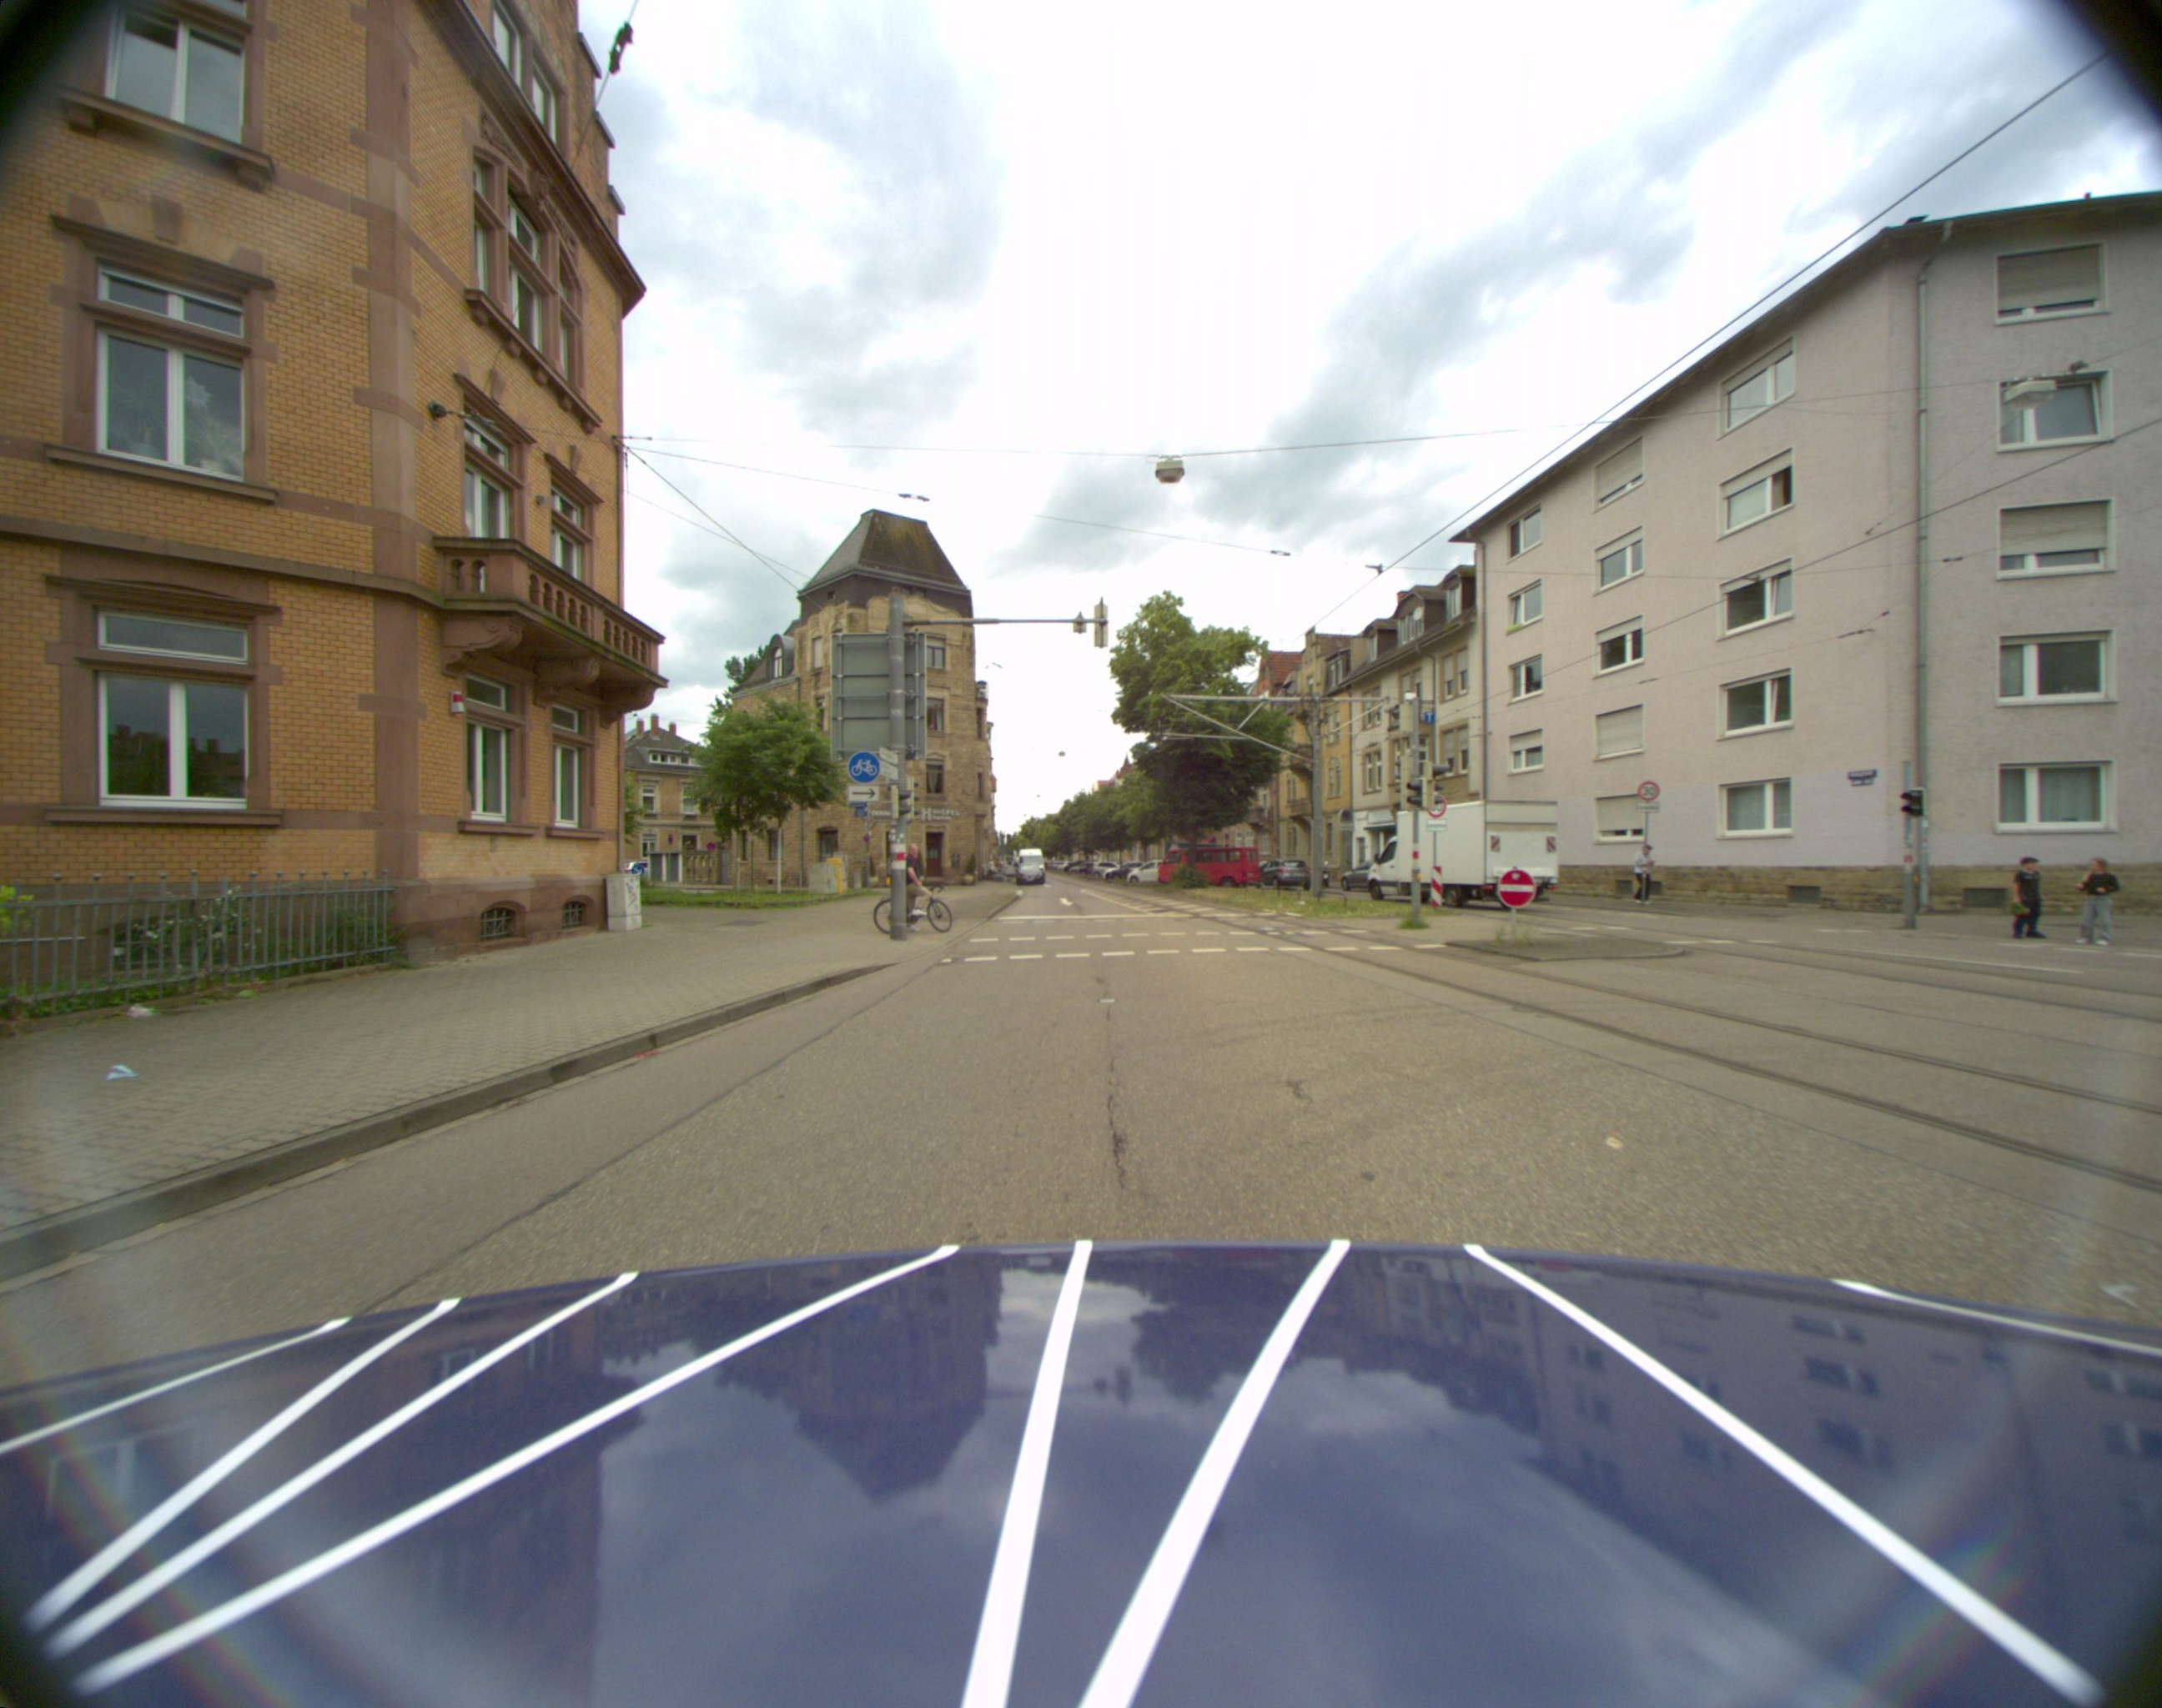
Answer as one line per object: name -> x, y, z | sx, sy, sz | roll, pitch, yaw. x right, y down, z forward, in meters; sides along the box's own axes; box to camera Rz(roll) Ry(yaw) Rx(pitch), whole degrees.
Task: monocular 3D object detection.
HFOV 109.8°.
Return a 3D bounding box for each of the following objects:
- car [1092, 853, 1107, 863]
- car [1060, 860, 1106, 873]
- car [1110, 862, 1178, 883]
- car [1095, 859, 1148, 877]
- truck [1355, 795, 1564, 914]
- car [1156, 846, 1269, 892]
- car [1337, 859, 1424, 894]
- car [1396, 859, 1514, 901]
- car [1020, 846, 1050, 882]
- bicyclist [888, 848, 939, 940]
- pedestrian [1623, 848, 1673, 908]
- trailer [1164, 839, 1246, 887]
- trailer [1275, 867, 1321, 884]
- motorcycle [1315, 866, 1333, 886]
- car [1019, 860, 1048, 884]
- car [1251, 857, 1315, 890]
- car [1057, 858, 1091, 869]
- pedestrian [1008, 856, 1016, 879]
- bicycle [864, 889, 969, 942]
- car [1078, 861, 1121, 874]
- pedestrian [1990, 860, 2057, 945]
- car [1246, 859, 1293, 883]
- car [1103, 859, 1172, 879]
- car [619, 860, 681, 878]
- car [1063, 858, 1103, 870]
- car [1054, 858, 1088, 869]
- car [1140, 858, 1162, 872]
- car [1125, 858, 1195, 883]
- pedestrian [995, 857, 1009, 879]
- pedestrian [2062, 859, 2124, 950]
car -> 2.615, 0.567, 109.137 | 1.649, 1.495, 3.881 | -1, 0, -7
car -> 0.204, 1.335, 80.537 | 4.655, 1.360, 1.761 | -1, 0, 37
car -> 4.343, 1.258, 52.636 | 4.328, 1.426, 1.903 | -1, 0, 36
car -> 3.366, 1.153, 63.390 | 4.106, 1.475, 1.801 | -1, 0, 35
truck -> 11.400, -0.002, 23.844 | 2.191, 3.139, 7.326 | -1, 0, -7
car -> 6.045, 0.672, 35.186 | 4.754, 1.962, 1.963 | 0, 0, 32
car -> 13.359, 0.966, 34.183 | 1.640, 1.434, 4.567 | -1, 0, -8
car -> 13.997, 0.906, 28.777 | 1.640, 1.434, 4.759 | -1, 0, -8
car -> -3.628, 0.715, 58.410 | 2.019, 2.534, 7.013 | -2, 0, -5
bicyclist -> -3.388, 0.791, 15.348 | 0.683, 1.785, 0.889 | -1, 0, -37
pedestrian -> 17.169, 0.714, 23.028 | 0.800, 1.756, 0.899 | 0, 0, -7
trailer -> 6.279, 0.452, 38.462 | 3.662, 2.330, 1.934 | 0, 0, 26
trailer -> 12.616, 1.253, 44.248 | 1.459, 0.887, 3.074 | 1, 0, -8
motorcycle -> 13.196, 1.198, 41.291 | 0.710, 1.032, 2.232 | 0, 0, 11
car -> -3.323, 1.200, 52.010 | 1.829, 1.441, 5.004 | -1, 0, -5
car -> 10.020, 0.907, 38.056 | 1.649, 1.525, 4.129 | -1, 0, -7
car -> -0.926, 1.192, 98.511 | 4.118, 1.304, 1.867 | -1, 0, 37
pedestrian -> -5.391, 1.051, 59.419 | 0.500, 1.804, 0.802 | 2, 0, -5
bicycle -> -3.280, 1.205, 15.219 | 1.872, 0.918, 0.794 | -1, 0, -38
car -> 1.788, 1.272, 73.901 | 3.951, 1.195, 1.672 | -1, 0, 38
pedestrian -> 17.505, 0.892, 14.124 | 0.570, 1.548, 0.534 | 0, 0, 7
car -> 12.191, 1.063, 49.289 | 1.640, 1.434, 3.921 | -1, 0, -8
car -> 4.129, 1.102, 55.932 | 4.675, 1.426, 1.903 | -1, 0, 33
car -> -34.786, 1.198, 61.388 | 1.750, 1.425, 4.053 | 1, -1, 44
car -> 0.205, 1.189, 90.917 | 4.528, 1.481, 2.040 | 0, 0, 38
car -> -1.444, 1.285, 105.136 | 4.552, 1.484, 1.867 | -1, 0, 40
car -> 7.926, 1.241, 86.400 | 1.667, 1.550, 3.720 | -1, 0, -7
car -> 4.739, 0.984, 45.942 | 3.852, 1.454, 1.693 | -1, 0, 36
pedestrian -> -6.067, 1.076, 58.394 | 0.866, 1.690, 0.537 | 2, 0, -20
pedestrian -> 17.701, 0.856, 13.293 | 0.534, 1.548, 0.569 | 0, 0, -28
